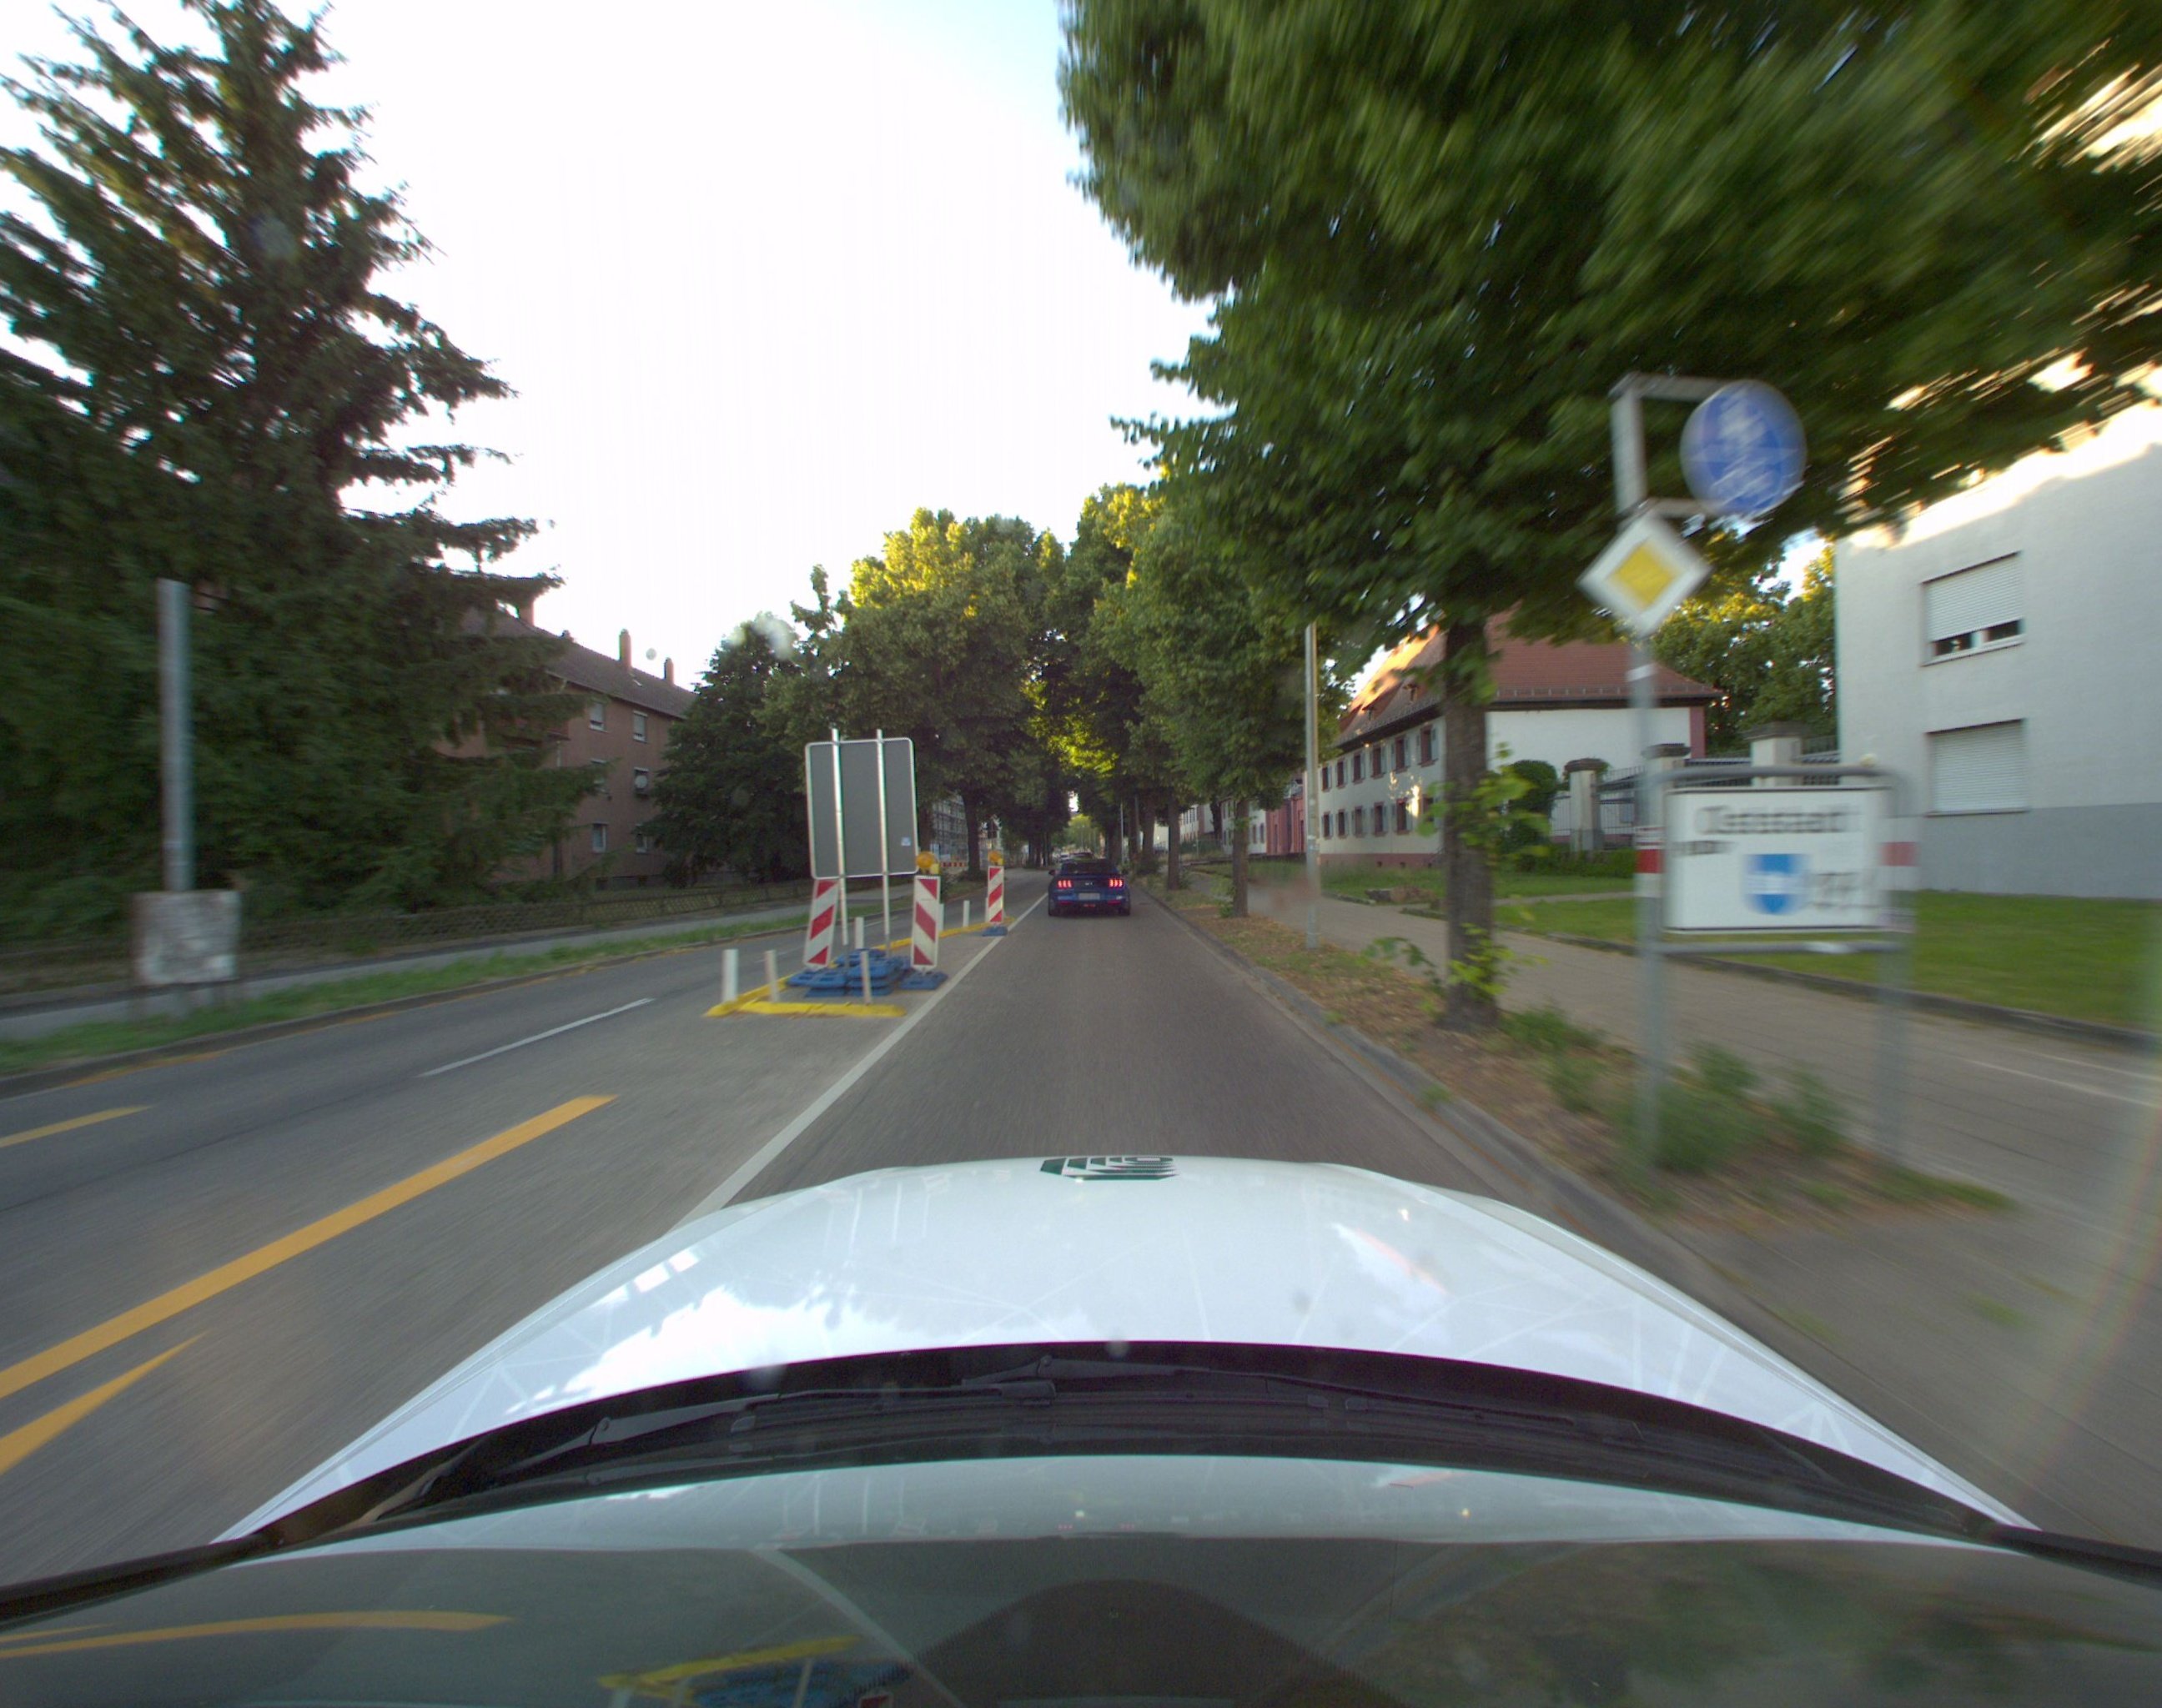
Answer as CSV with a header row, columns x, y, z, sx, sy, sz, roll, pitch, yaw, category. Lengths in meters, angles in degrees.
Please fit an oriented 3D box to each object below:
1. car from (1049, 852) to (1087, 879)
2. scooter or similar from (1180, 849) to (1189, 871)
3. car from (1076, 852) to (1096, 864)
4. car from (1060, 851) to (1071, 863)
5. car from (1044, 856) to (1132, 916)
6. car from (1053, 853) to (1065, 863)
x,y,z,sx,sy,sz,roll,pitch,yaw,category
-0.698,0.631,46.995,1.939,1.527,4.002,0,0,2,car
6.147,0.339,48.588,0.239,1.276,1.265,-2,-1,-4,scooter or similar
0.561,0.408,88.226,1.939,1.326,4.002,0,0,2,car
-3.652,0.740,192.781,2.484,2.697,5.829,-2,0,0,car
0.176,0.706,20.090,1.940,1.326,4.000,0,0,0,car
-4.884,0.818,181.387,2.327,2.198,5.311,-2,0,2,car
